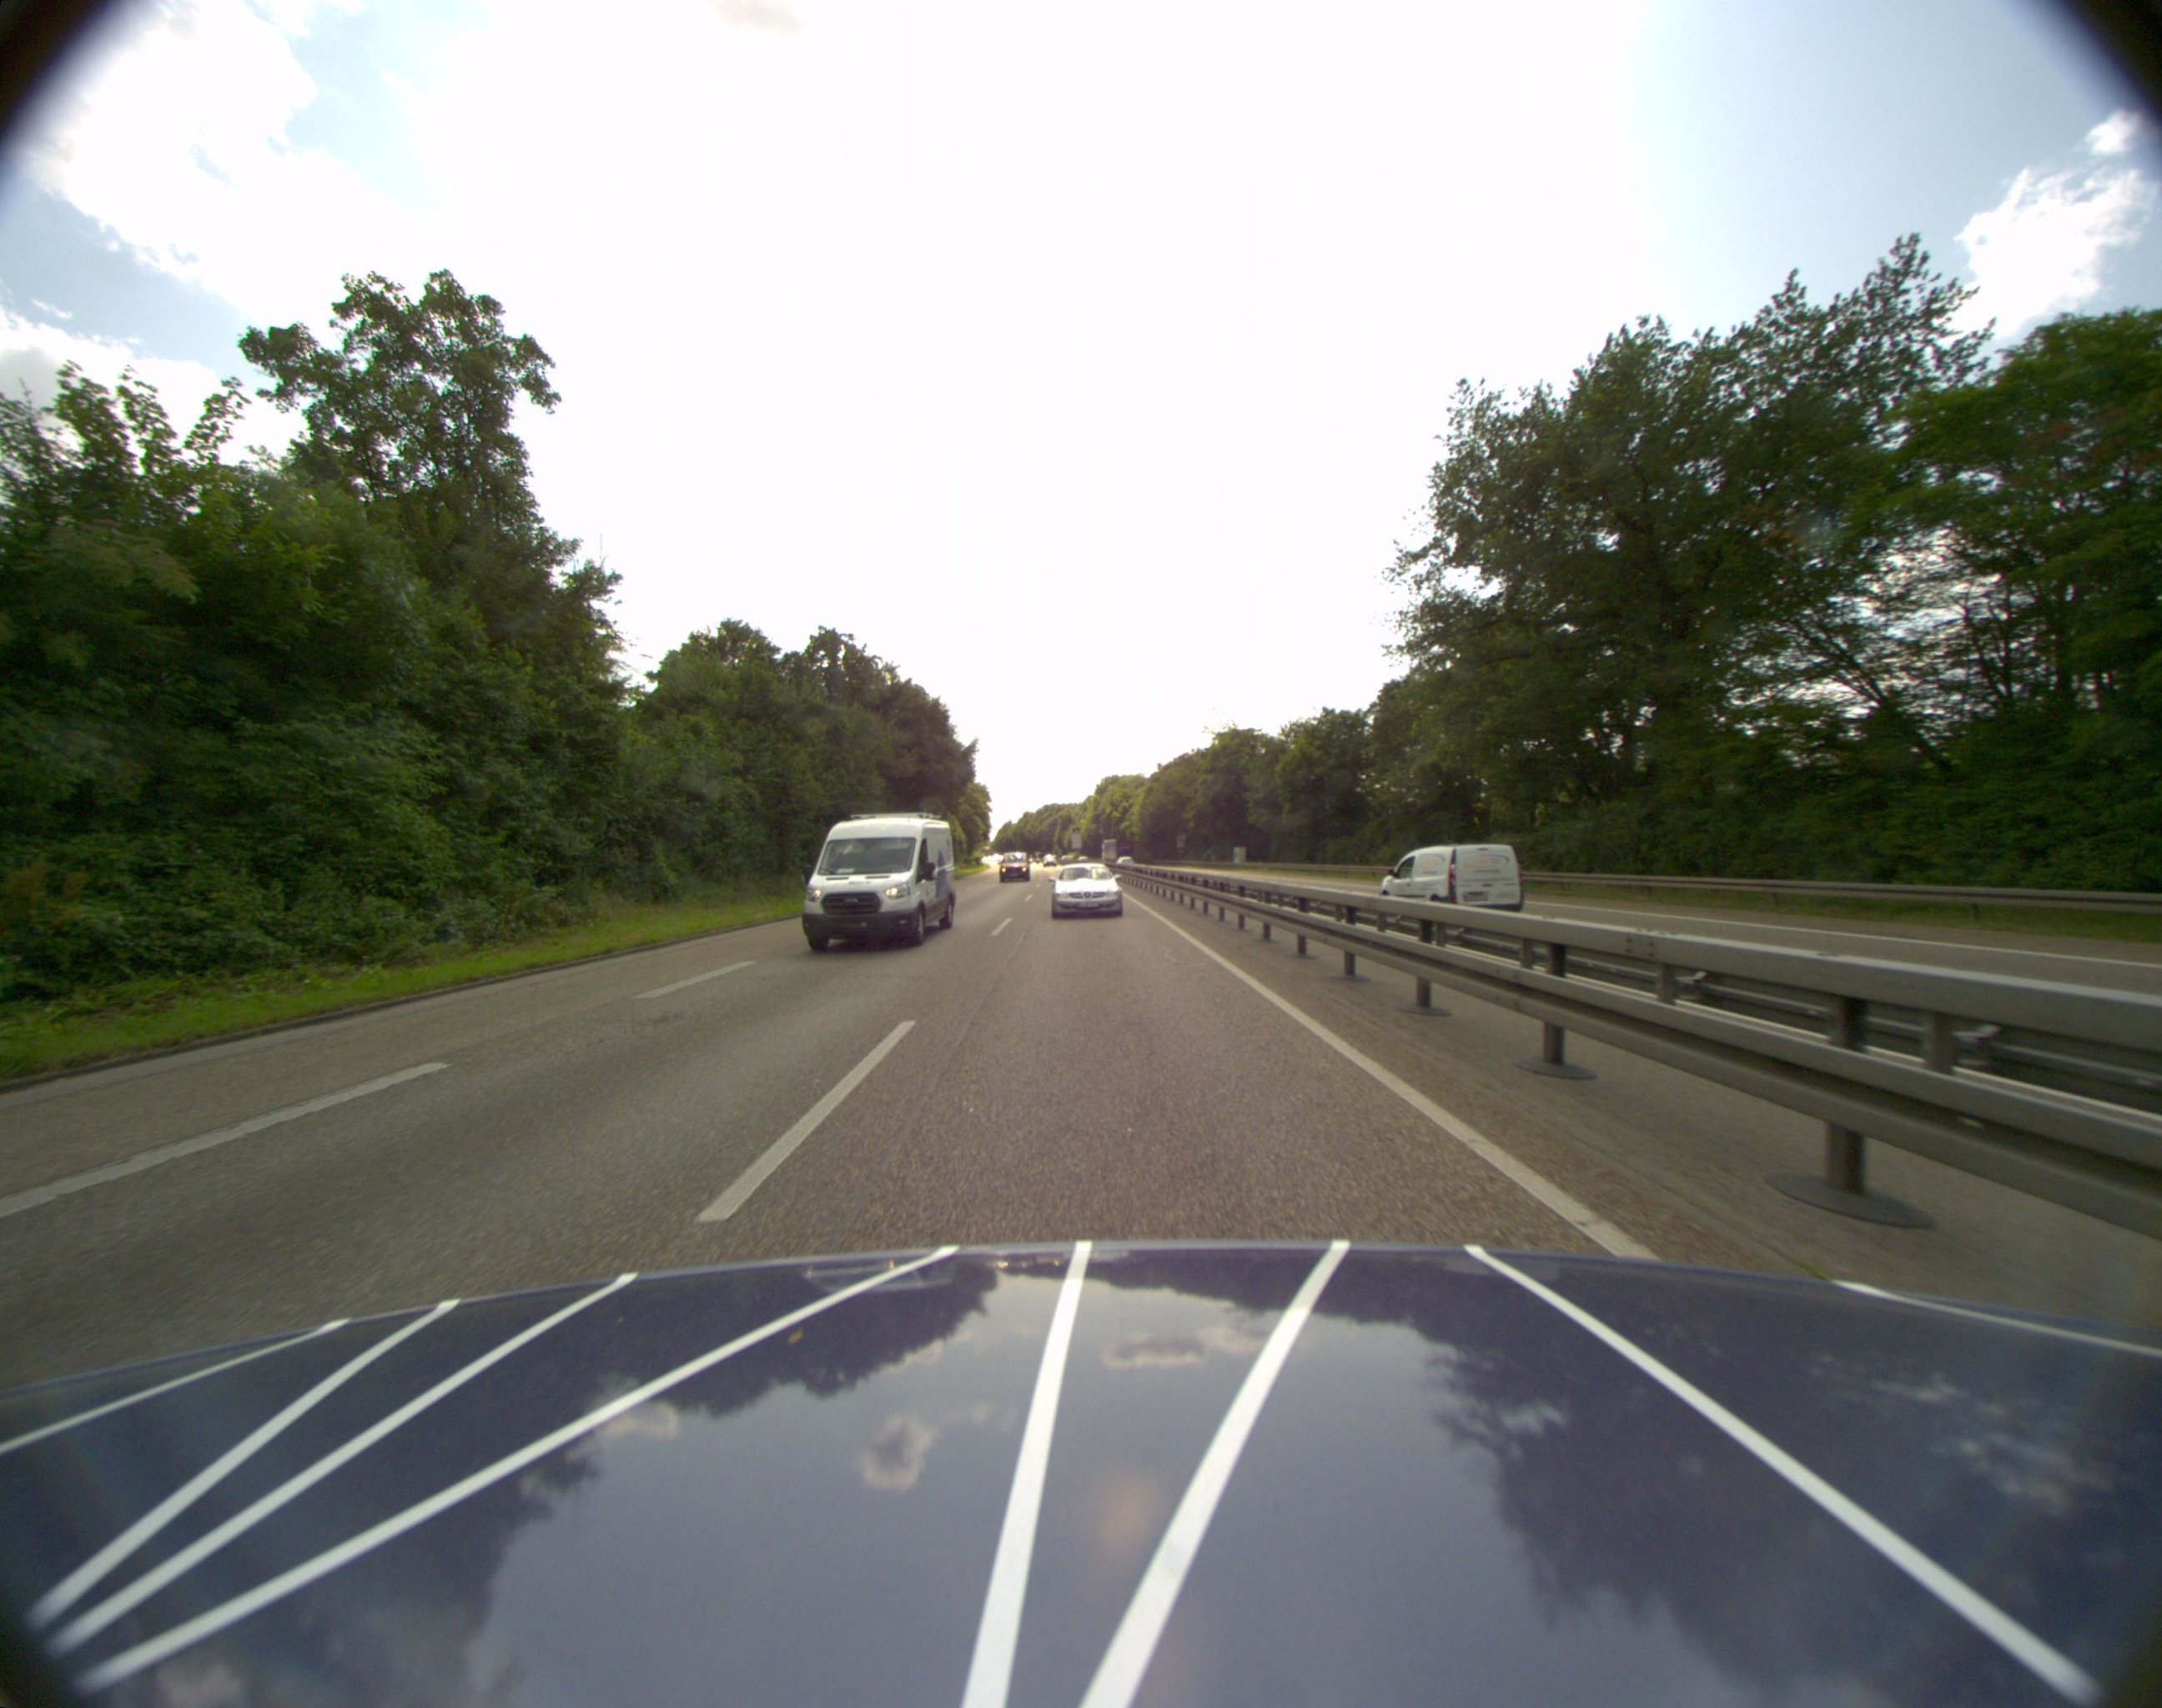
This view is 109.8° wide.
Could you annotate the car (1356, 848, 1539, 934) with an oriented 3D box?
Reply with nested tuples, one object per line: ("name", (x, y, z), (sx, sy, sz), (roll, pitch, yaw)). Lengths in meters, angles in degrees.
("car", (8.781, 0.774, 18.887), (1.849, 1.808, 5.477), (-1, 0, -1))

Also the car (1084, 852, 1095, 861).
("car", (1.440, 0.435, 129.950), (1.667, 1.436, 4.007), (-1, 0, -3))

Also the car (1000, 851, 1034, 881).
("car", (-4.188, 0.733, 49.978), (1.909, 1.795, 4.394), (-2, 0, -2))

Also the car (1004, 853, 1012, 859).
("car", (-17.701, 0.465, 184.466), (1.786, 1.513, 3.998), (-1, 0, -5))

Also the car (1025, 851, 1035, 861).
("car", (-10.347, 0.466, 154.698), (1.999, 2.002, 3.998), (-1, 0, -5))

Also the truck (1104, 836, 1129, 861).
("truck", (5.934, -0.917, 127.182), (3.384, 4.073, 6.127), (-2, 1, -3))

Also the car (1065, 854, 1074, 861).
("car", (-2.622, 0.760, 166.924), (1.861, 1.506, 3.992), (-1, 0, -3))

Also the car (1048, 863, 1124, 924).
("car", (0.091, 0.970, 20.620), (1.751, 1.295, 5.222), (-2, 0, -1))

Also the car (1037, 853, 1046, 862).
("car", (-7.134, 0.550, 136.099), (1.473, 1.560, 3.293), (-1, 0, -5))

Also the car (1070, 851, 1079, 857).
("car", (-1.602, 0.031, 187.149), (1.861, 1.506, 3.992), (-1, 0, -3))

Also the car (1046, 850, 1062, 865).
("car", (-3.807, 0.432, 105.543), (1.999, 2.002, 3.998), (-1, 0, -6))

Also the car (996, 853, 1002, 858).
("car", (-25.548, 0.527, 235.812), (1.786, 1.513, 3.998), (-1, 0, -5))

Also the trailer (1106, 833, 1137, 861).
("trailer", (6.267, -1.131, 120.413), (3.414, 4.056, 12.973), (-2, 1, -3))

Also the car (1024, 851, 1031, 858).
("car", (-12.634, 0.180, 178.587), (1.700, 1.579, 3.998), (-1, 0, -4))

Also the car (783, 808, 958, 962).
("car", (-3.925, 0.505, 15.274), (2.104, 2.493, 5.277), (-2, 0, -2))

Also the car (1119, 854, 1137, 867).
("car", (5.609, 0.809, 90.451), (1.682, 1.422, 4.550), (-2, 0, -2))
